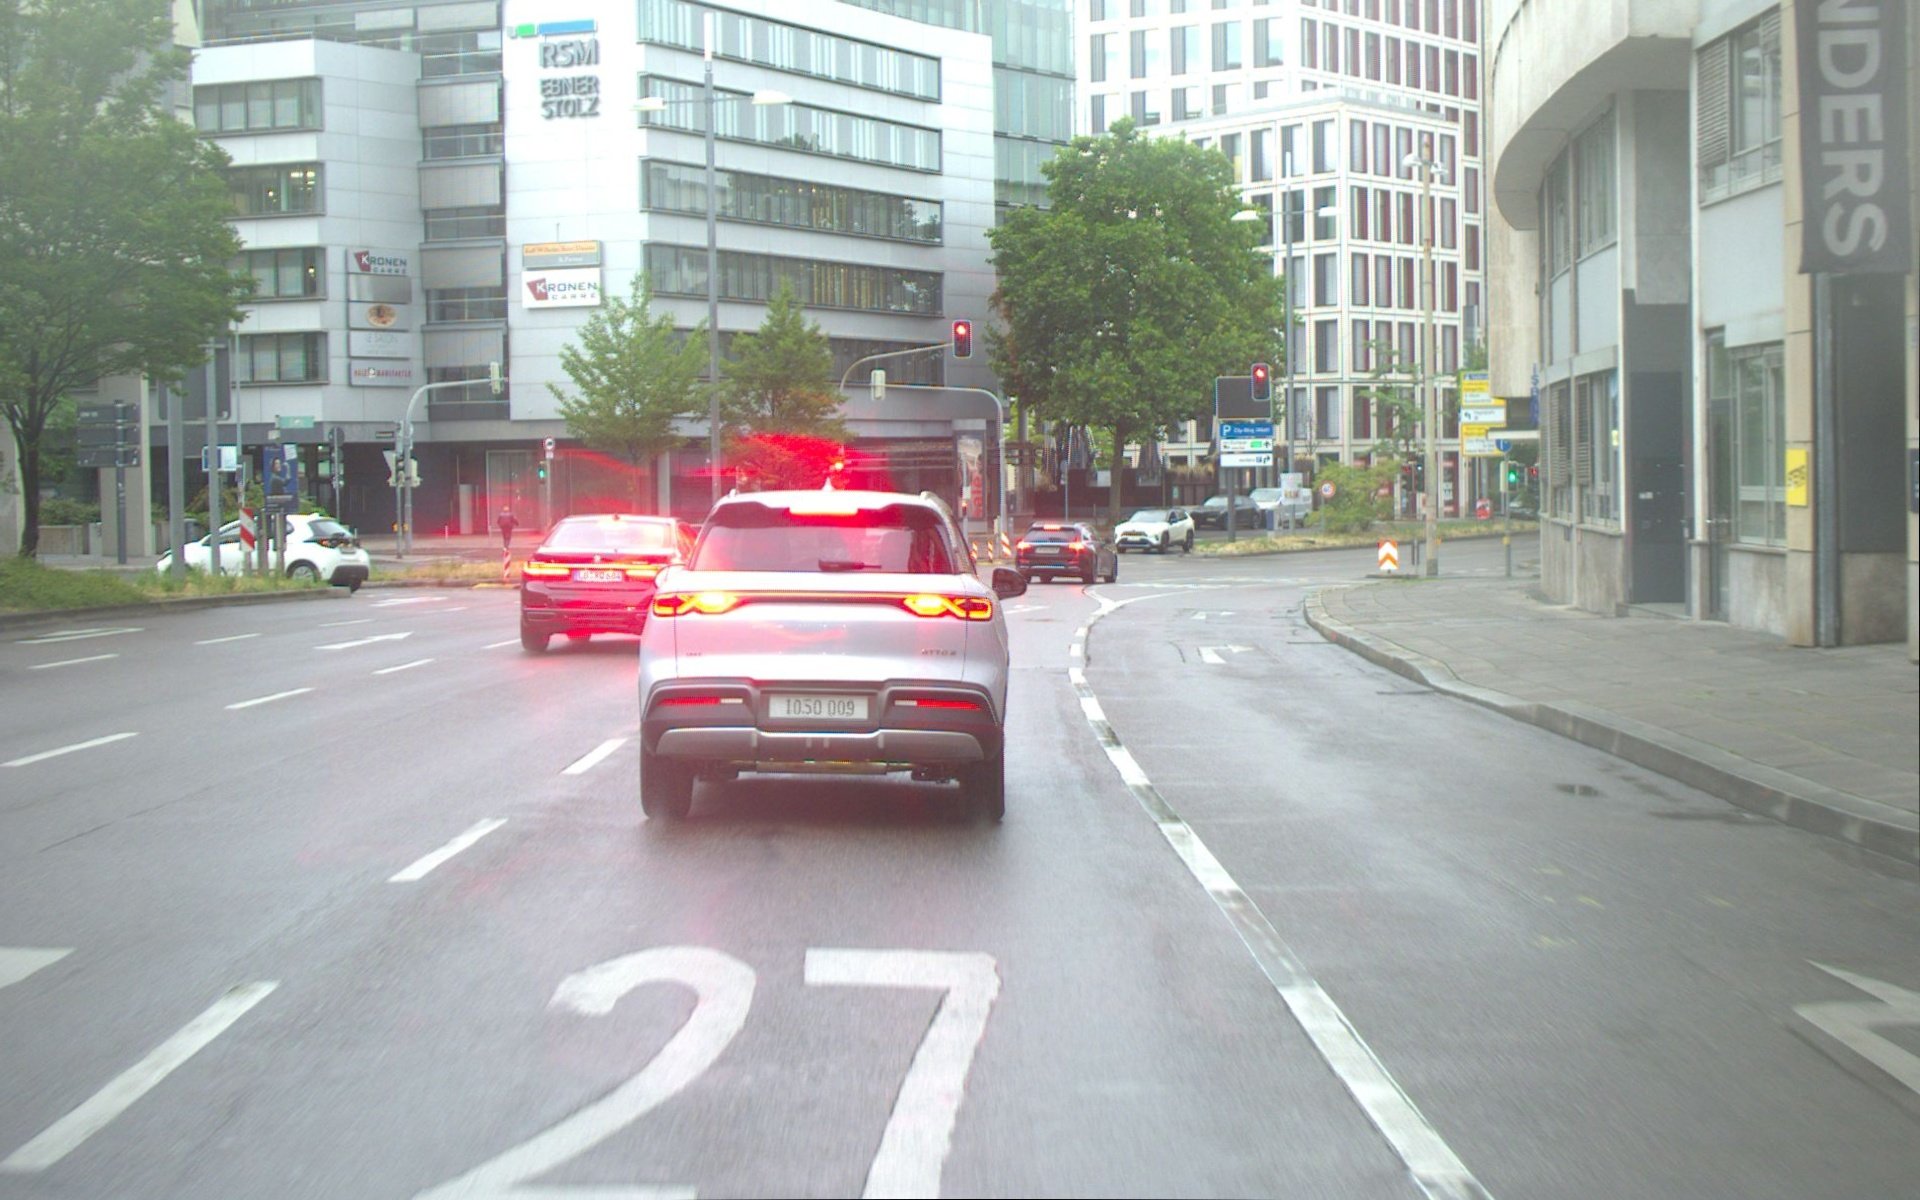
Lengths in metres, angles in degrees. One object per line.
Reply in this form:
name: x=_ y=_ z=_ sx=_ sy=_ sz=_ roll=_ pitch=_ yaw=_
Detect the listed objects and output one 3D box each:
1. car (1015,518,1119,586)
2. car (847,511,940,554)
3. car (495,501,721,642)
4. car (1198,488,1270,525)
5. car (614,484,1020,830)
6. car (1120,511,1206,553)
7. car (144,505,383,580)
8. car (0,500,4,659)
car: x=2.601 y=-1.184 z=82.986 sx=1.812 sy=1.573 sz=3.998 roll=0 pitch=1 yaw=12
car: x=-2.375 y=-2.448 z=123.681 sx=1.583 sy=1.533 sz=3.994 roll=1 pitch=2 yaw=28
car: x=-3.879 y=-0.314 z=38.650 sx=1.872 sy=1.474 sz=4.878 roll=0 pitch=0 yaw=2
car: x=12.946 y=-4.398 z=162.320 sx=1.860 sy=1.730 sz=3.994 roll=1 pitch=2 yaw=30
car: x=-0.702 y=0.226 z=18.162 sx=1.901 sy=1.616 sz=4.000 roll=0 pitch=1 yaw=-1
car: x=7.550 y=-2.522 z=127.711 sx=1.583 sy=1.533 sz=3.994 roll=1 pitch=2 yaw=30
car: x=-12.808 y=-1.071 z=63.259 sx=3.990 sy=1.337 sz=1.658 roll=1 pitch=1 yaw=15
car: x=-9.546 y=-0.155 z=29.361 sx=1.774 sy=1.452 sz=4.000 roll=-1 pitch=1 yaw=-2
